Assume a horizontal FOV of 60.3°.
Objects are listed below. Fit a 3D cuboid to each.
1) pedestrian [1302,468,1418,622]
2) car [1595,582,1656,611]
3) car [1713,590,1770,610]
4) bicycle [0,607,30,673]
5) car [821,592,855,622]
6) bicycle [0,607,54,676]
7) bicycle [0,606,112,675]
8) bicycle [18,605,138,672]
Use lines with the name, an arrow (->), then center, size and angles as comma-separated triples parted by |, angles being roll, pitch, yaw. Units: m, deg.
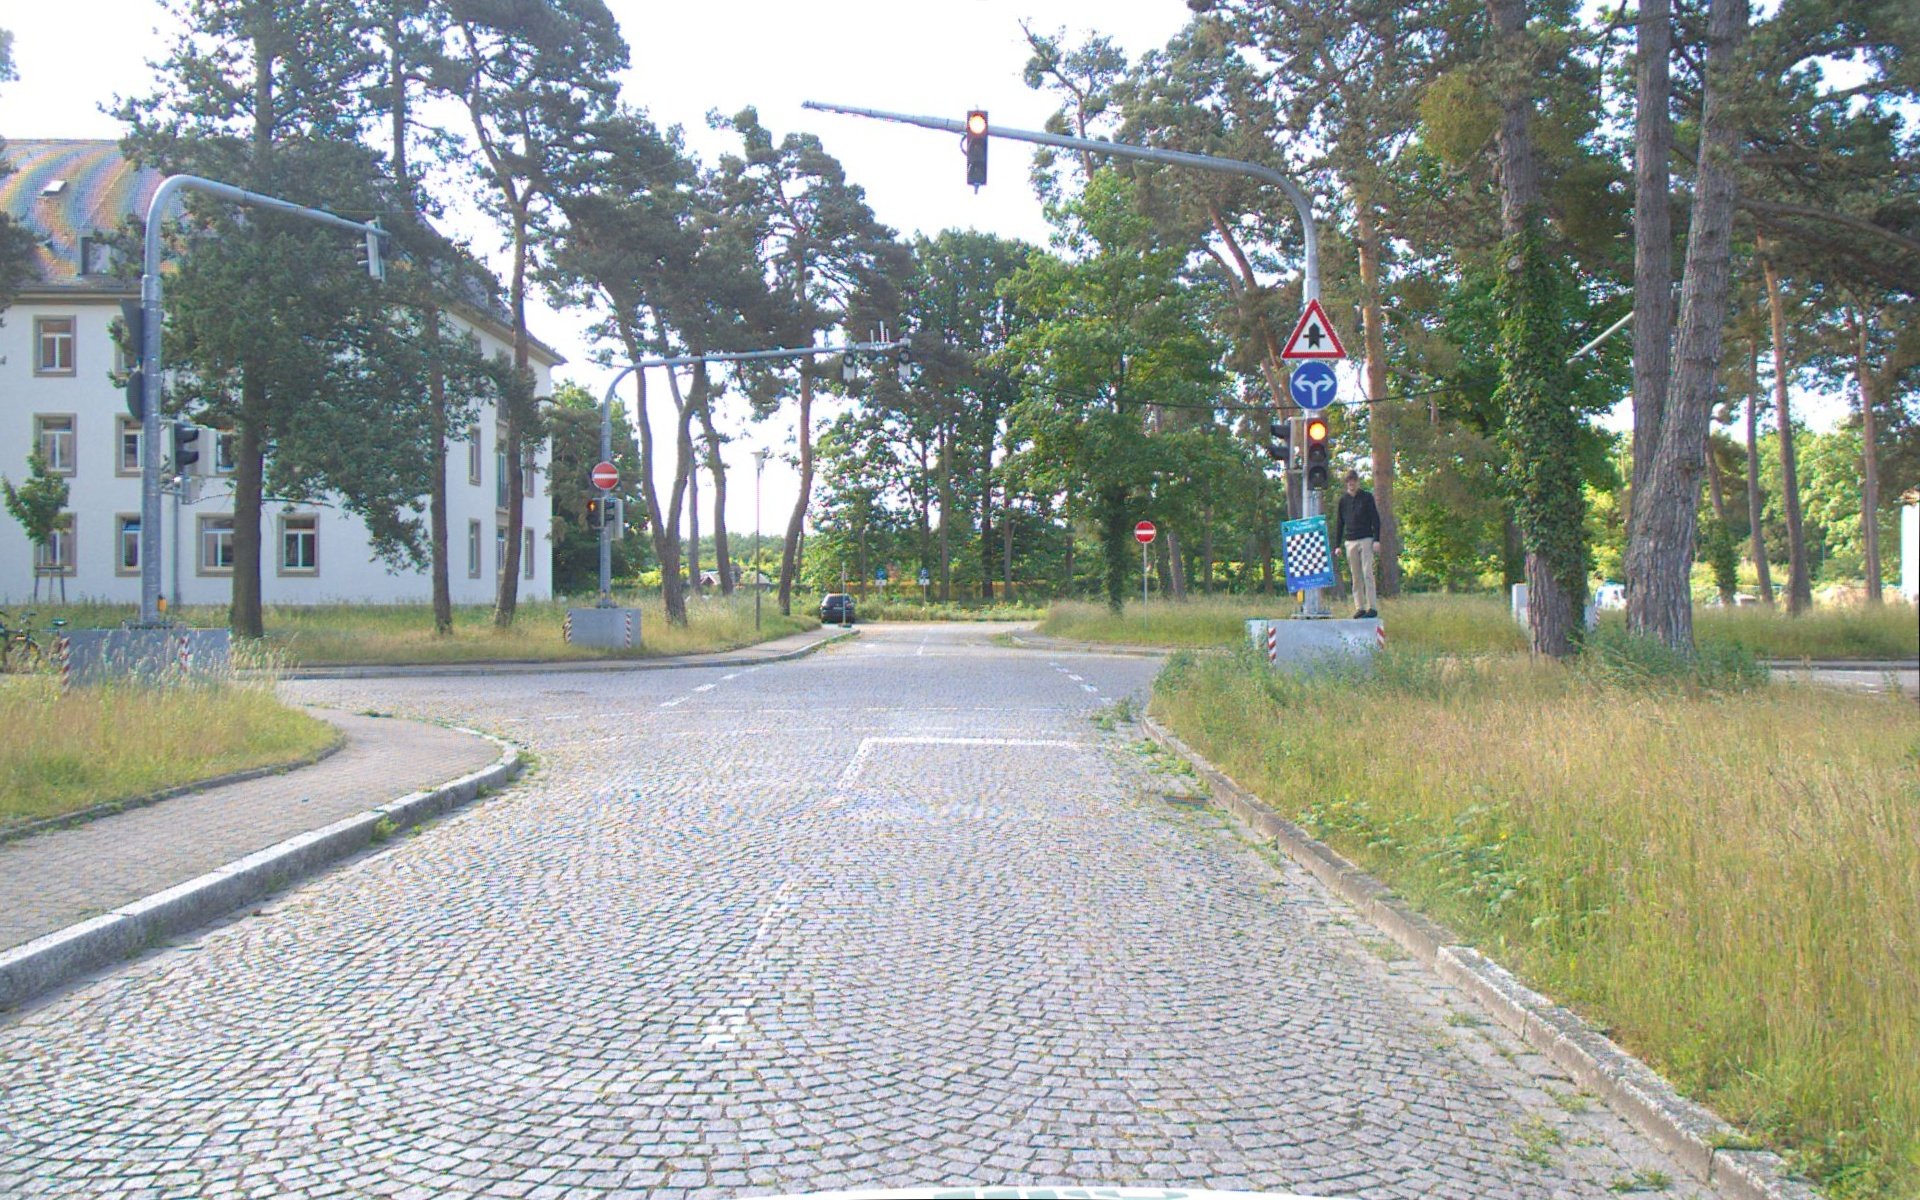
pedestrian -> 4.962, -0.664, 20.504 | 1.146, 1.827, 1.061 | -1, 0, 29
car -> 37.985, -0.220, 94.544 | 1.790, 1.609, 4.162 | 0, 0, -1
car -> 44.875, -0.024, 95.024 | 1.686, 1.106, 4.003 | 0, 0, 5
bicycle -> -18.471, 0.760, 31.246 | 0.620, 1.242, 2.123 | 0, 0, -1
car -> -6.488, 0.352, 88.040 | 1.675, 1.522, 3.917 | 0, 0, -3
bicycle -> -17.996, 0.768, 31.266 | 0.620, 1.242, 2.114 | 0, 0, -1
bicycle -> -16.748, 0.749, 30.534 | 1.824, 1.242, 0.635 | 0, 0, -1
bicycle -> -16.657, 0.724, 31.250 | 1.905, 1.242, 0.635 | 0, 0, -1
